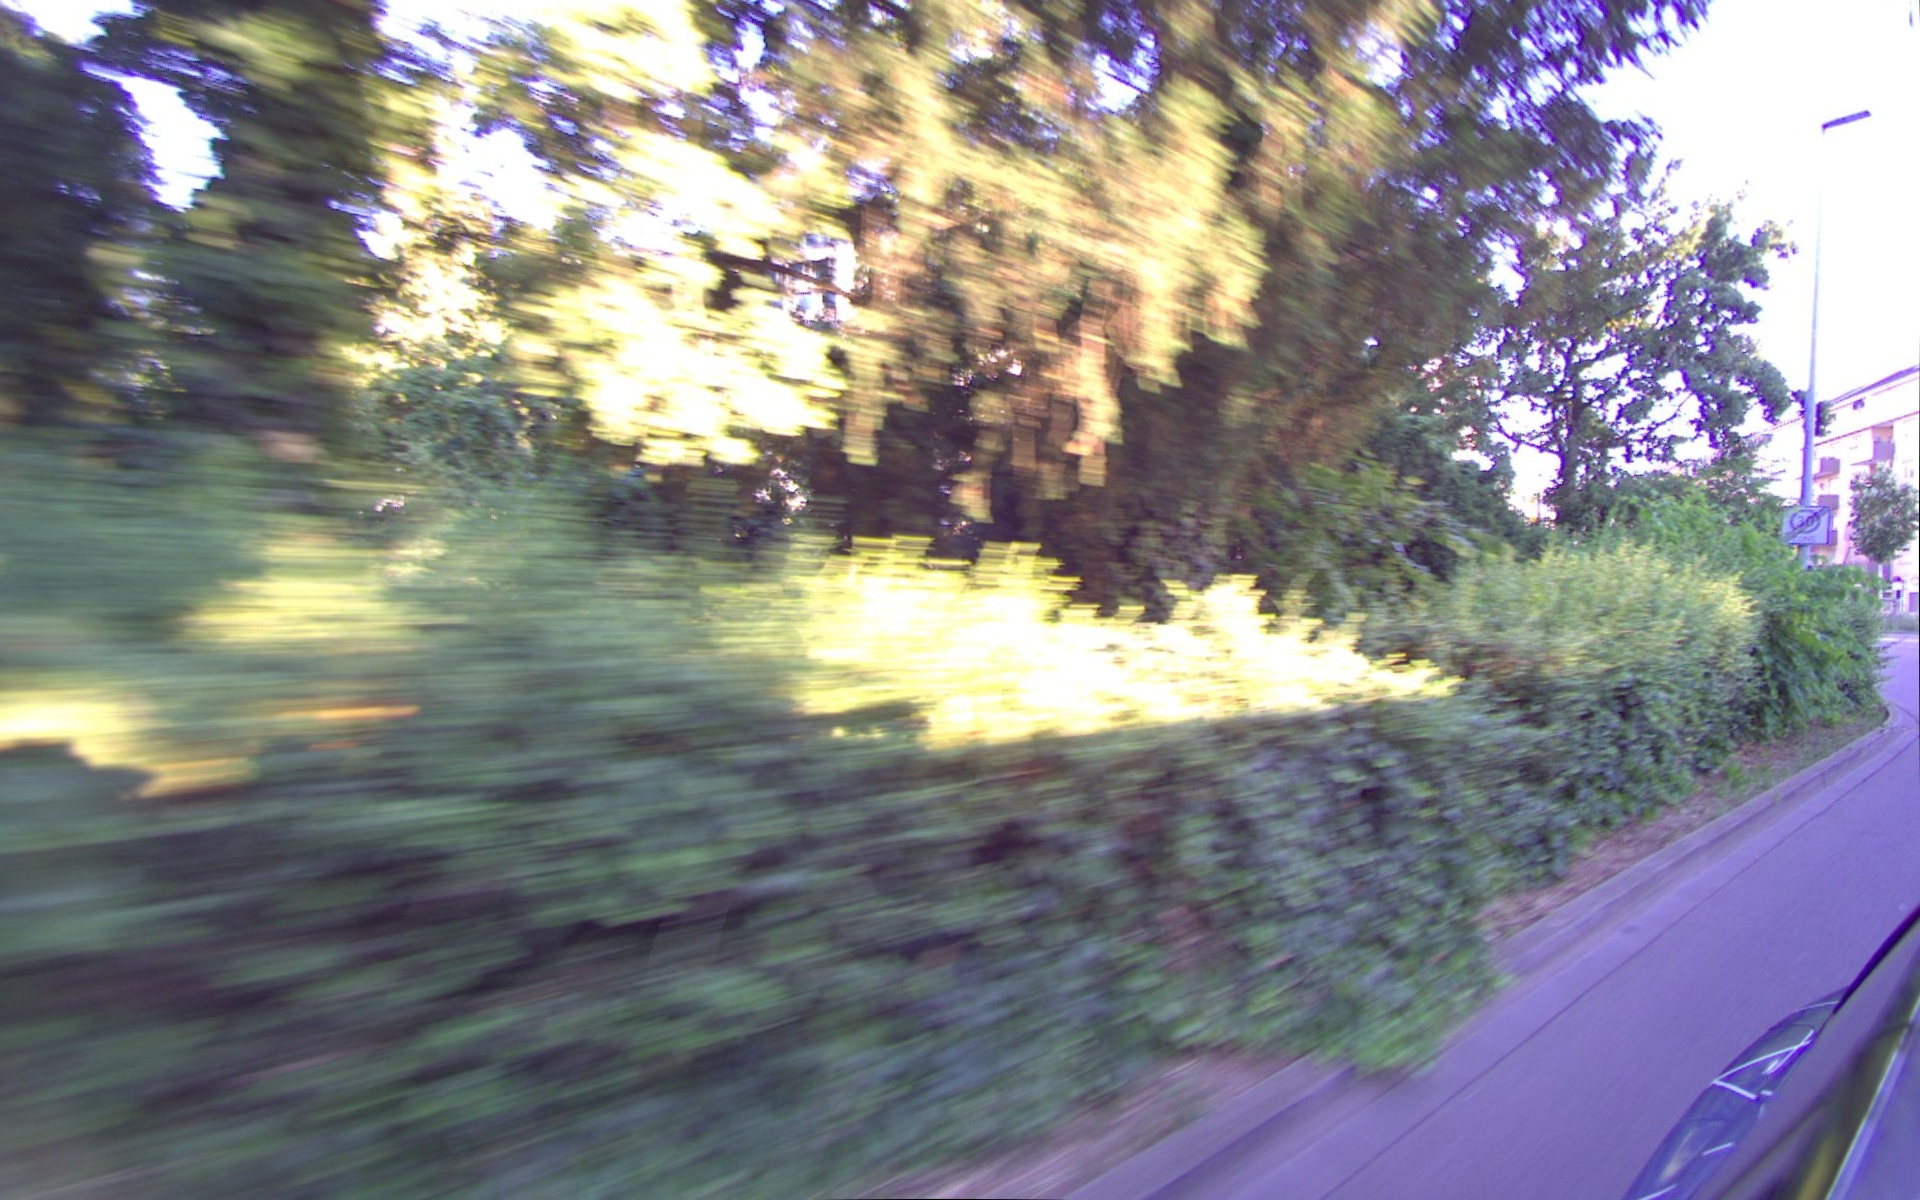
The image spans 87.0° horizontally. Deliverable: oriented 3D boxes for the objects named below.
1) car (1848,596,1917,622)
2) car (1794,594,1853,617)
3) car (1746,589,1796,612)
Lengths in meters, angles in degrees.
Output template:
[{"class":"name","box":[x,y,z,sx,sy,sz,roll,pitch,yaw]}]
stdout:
[{"class":"car","box":[60.742,0.565,66.696,1.976,1.504,3.973,1,2,21]},{"class":"car","box":[63.620,0.372,74.640,1.976,1.504,3.973,1,2,21]},{"class":"car","box":[66.233,0.019,82.743,1.976,1.771,3.973,1,2,21]}]
